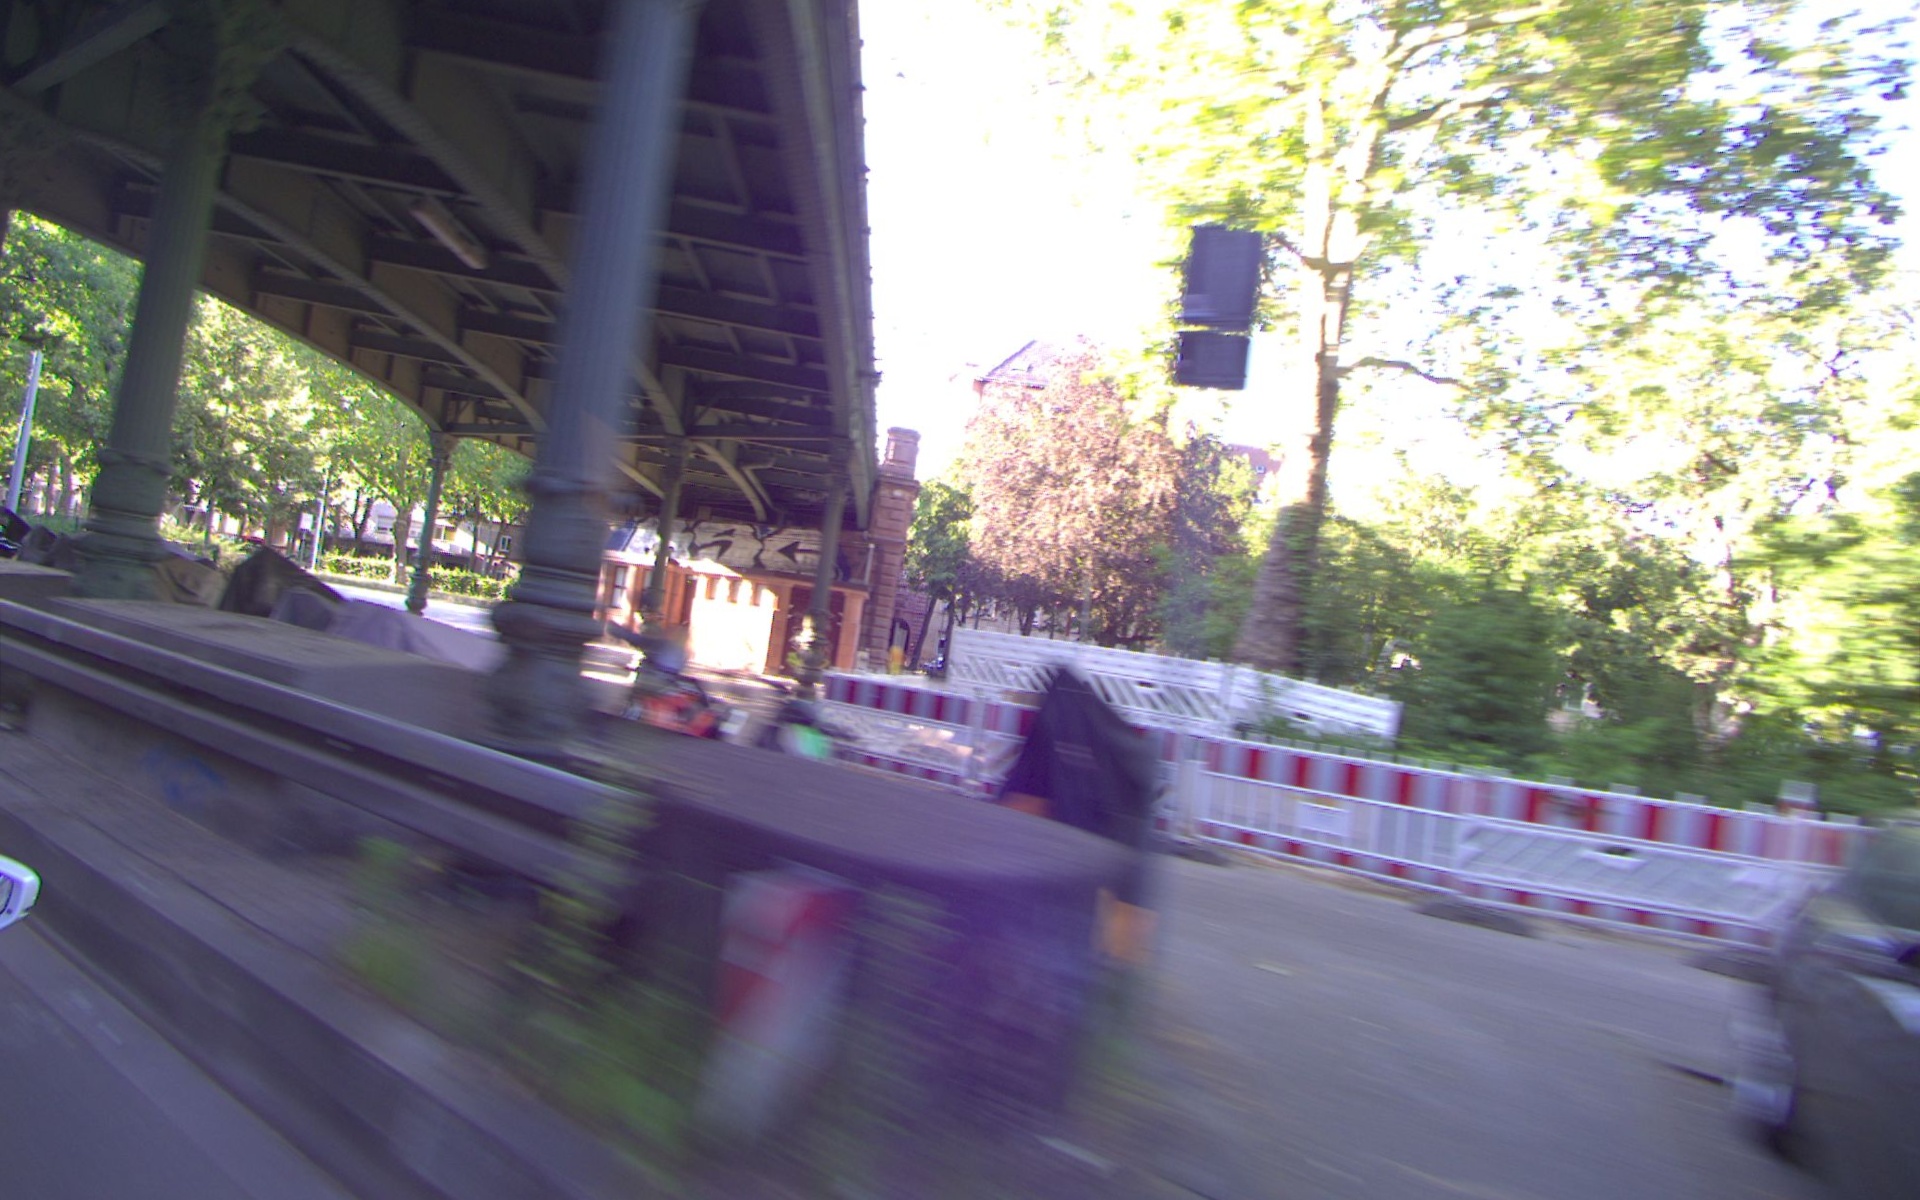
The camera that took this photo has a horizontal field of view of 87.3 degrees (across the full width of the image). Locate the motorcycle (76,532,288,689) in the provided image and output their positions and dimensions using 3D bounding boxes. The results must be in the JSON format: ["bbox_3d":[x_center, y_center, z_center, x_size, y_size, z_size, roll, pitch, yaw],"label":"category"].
[{"bbox_3d":[-8.355,0.143,10.880,1.595,1.422,0.705,11,-5,-39],"label":"motorcycle"}]

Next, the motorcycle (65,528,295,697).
[{"bbox_3d":[-7.776,0.153,10.105,1.595,1.422,0.705,11,-5,-39],"label":"motorcycle"}]

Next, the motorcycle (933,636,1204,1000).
[{"bbox_3d":[0.511,0.914,4.795,0.887,1.250,1.941,7,-5,7],"label":"motorcycle"}]

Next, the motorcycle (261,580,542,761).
[{"bbox_3d":[-4.233,0.575,7.842,0.834,1.144,1.842,7,-5,8],"label":"motorcycle"}]

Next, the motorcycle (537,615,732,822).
[{"bbox_3d":[-2.132,0.774,6.863,0.700,1.144,1.729,8,-5,-2],"label":"motorcycle"}]

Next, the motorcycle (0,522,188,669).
[{"bbox_3d":[-10.108,-0.022,11.714,1.595,1.422,0.705,11,-5,-39],"label":"motorcycle"}]

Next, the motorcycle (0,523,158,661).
[{"bbox_3d":[-10.924,-0.082,12.286,1.595,1.422,0.705,11,-5,-39],"label":"motorcycle"}]

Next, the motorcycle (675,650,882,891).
[{"bbox_3d":[-0.924,0.883,5.644,0.798,1.040,1.729,8,-5,-2],"label":"motorcycle"}]

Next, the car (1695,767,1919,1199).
[{"bbox_3d":[3.144,1.319,2.353,1.646,1.593,4.391,5,-6,29],"label":"car"}]

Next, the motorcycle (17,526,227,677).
[{"bbox_3d":[-9.355,0.045,11.313,1.595,1.422,0.705,11,-5,-39],"label":"motorcycle"}]

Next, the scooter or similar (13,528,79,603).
[{"bbox_3d":[-17.483,-0.674,19.240,1.305,1.311,0.478,5,-5,34],"label":"scooter or similar"}]

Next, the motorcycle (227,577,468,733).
[{"bbox_3d":[-5.200,0.518,8.678,0.699,1.144,1.609,6,-5,15],"label":"motorcycle"}]
